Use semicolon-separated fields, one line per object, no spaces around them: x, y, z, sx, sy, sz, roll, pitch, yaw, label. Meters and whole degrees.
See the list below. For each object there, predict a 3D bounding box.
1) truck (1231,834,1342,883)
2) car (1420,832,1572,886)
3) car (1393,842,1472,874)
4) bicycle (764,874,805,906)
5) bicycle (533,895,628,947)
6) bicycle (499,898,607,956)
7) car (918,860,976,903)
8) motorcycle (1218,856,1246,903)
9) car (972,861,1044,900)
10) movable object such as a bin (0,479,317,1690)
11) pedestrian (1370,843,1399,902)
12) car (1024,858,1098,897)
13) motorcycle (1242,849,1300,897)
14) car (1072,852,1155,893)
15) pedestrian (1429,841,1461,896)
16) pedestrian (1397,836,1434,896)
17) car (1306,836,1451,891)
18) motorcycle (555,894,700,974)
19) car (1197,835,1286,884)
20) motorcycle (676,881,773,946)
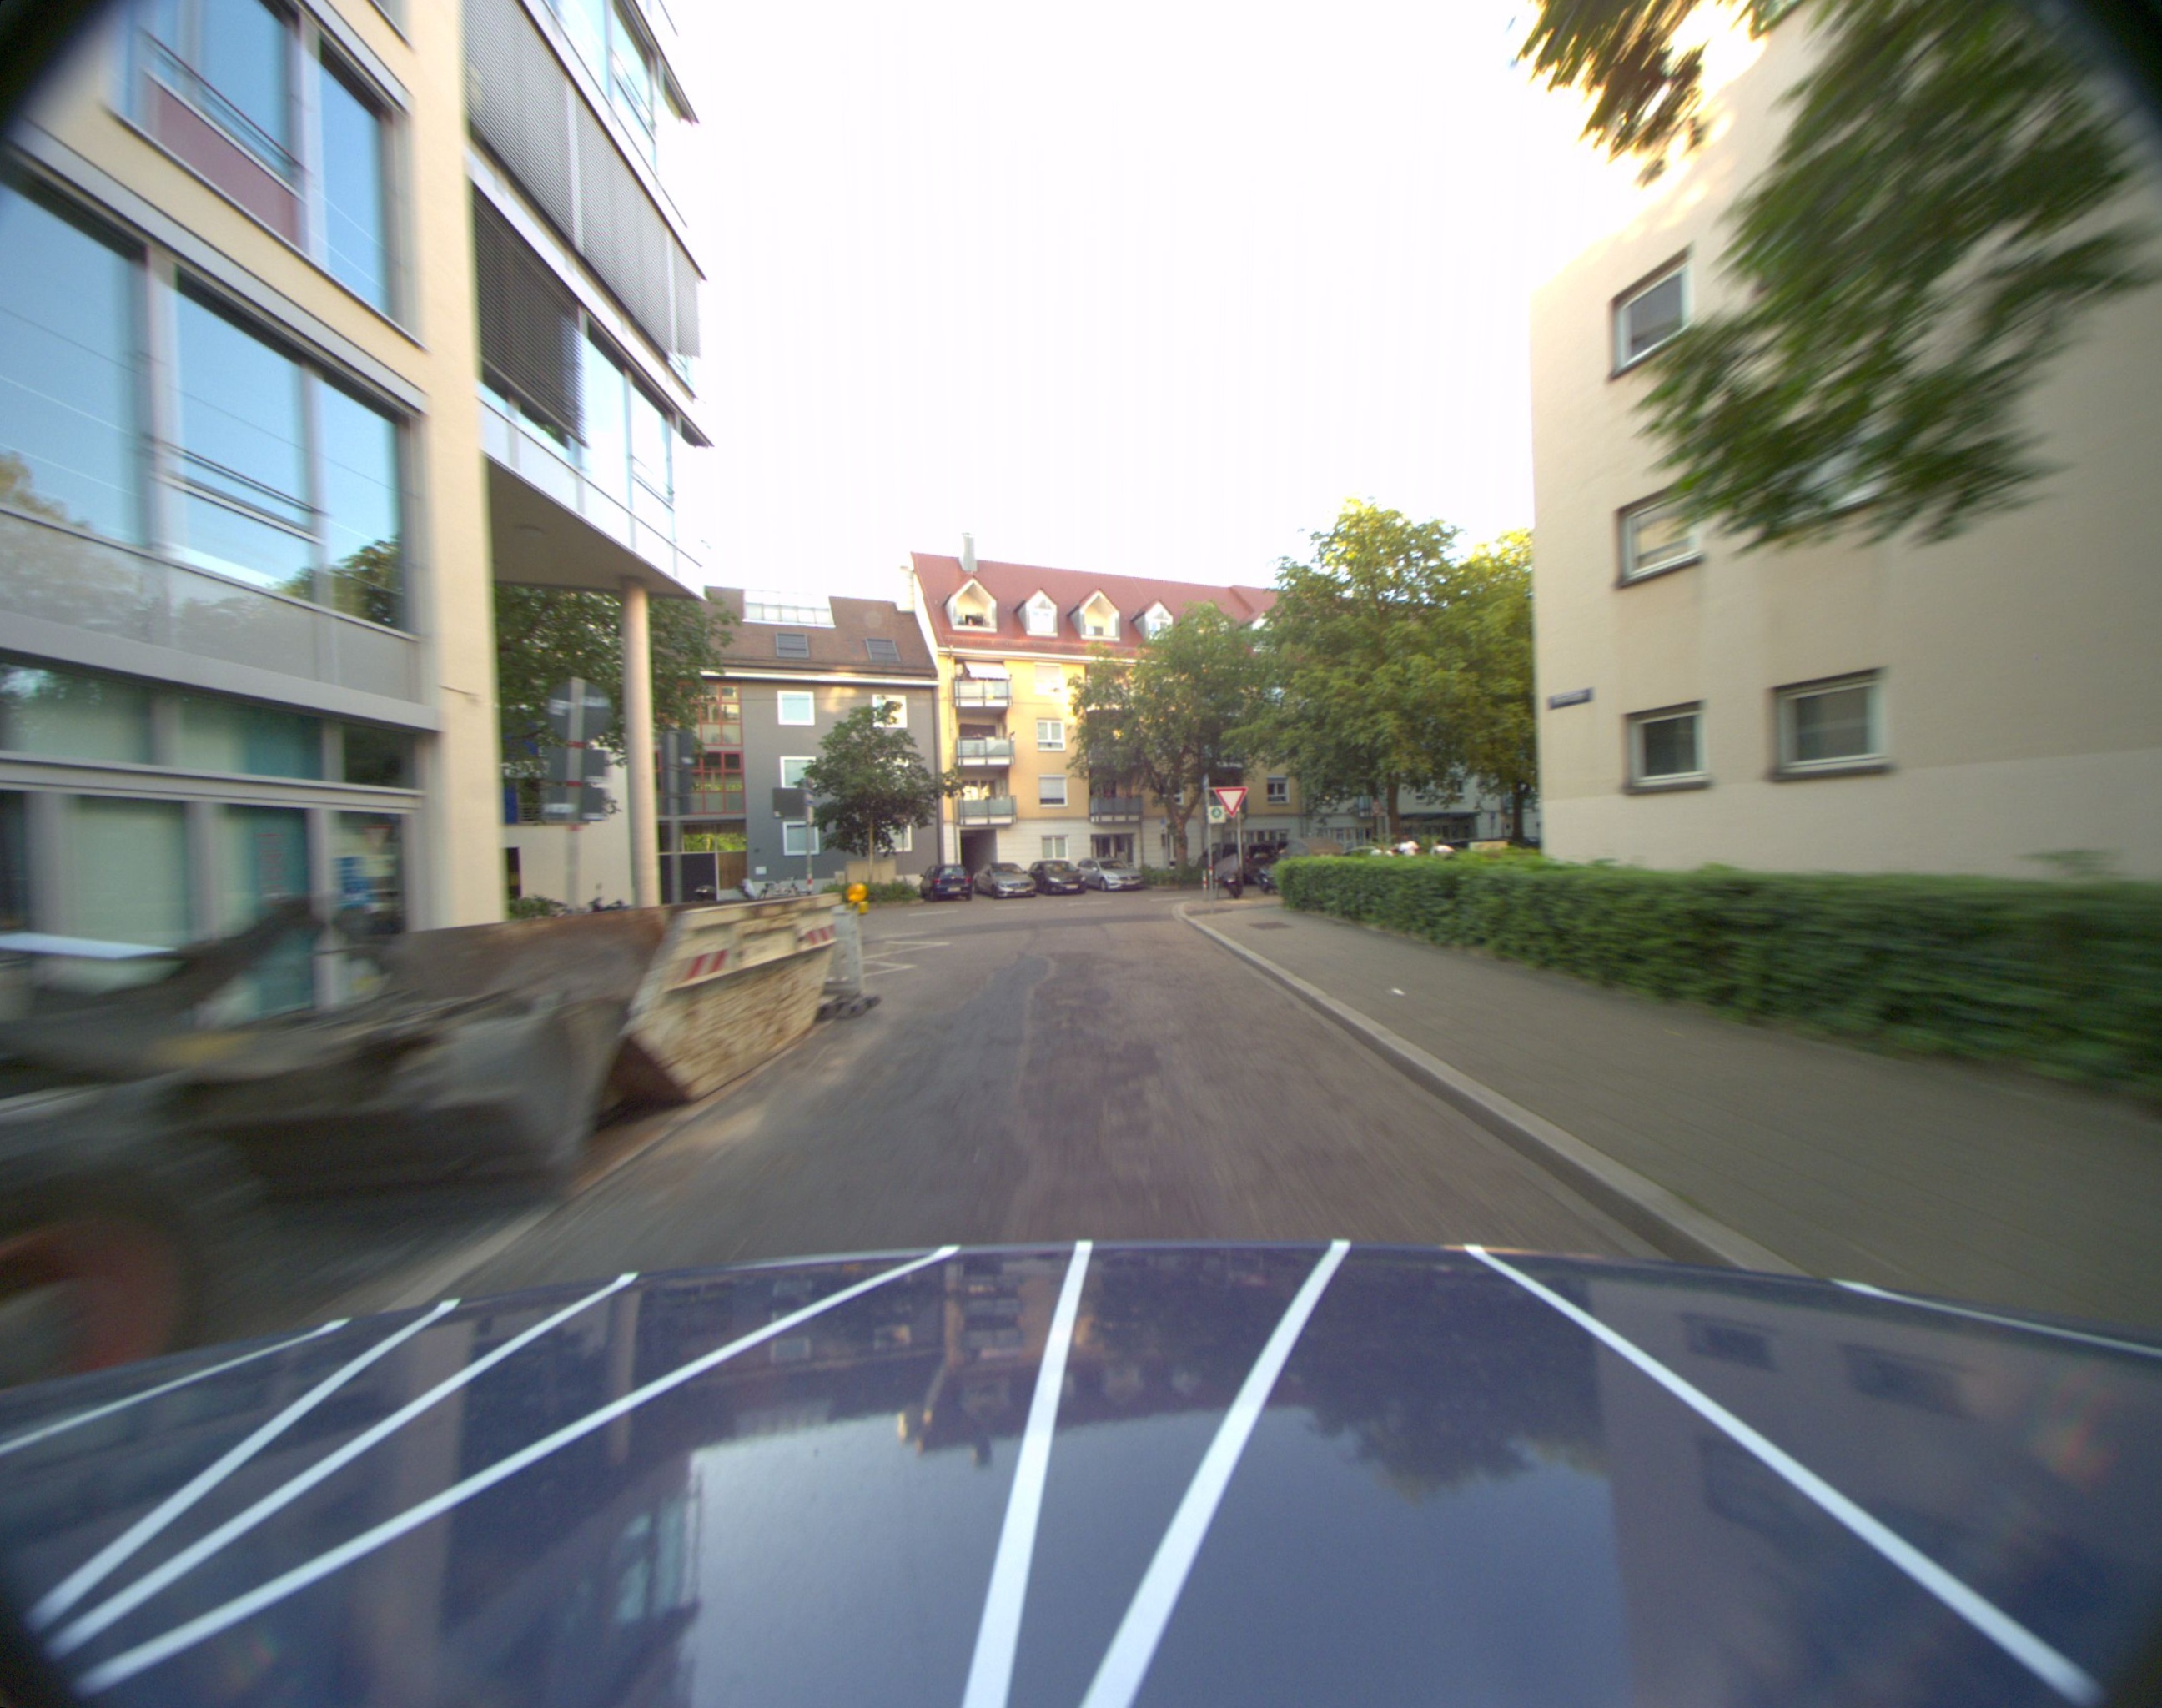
10.177;0.124;38.335;2.263;2.122;6.010;-2;4;-22;truck
14.822;0.222;27.461;2.066;1.674;4.404;-2;-2;-24;car
19.236;0.185;41.738;1.782;1.540;3.667;-4;4;-24;car
-12.129;1.477;31.090;1.501;1.166;0.726;-2;4;-21;bicycle
-12.056;1.593;18.348;1.801;1.111;0.602;-2;0;-22;bicycle
-11.358;1.559;16.418;1.801;1.111;0.602;-2;0;-22;bicycle
-5.656;1.098;31.761;1.747;1.517;3.355;-2;2;-21;car
4.658;0.748;23.585;0.722;1.366;2.226;-2;0;9;motorcycle
-3.239;1.119;33.013;1.874;1.499;4.286;-2;0;-23;car
-3.324;0.510;0.236;1.800;2.619;4.111;-2;0;3;movable object such as a bin
9.250;0.557;23.176;0.697;1.777;0.530;-2;0;28;pedestrian
-0.966;1.016;33.943;1.855;1.554;4.073;-2;0;-23;car
6.194;0.609;24.916;0.692;1.485;2.221;-3;0;-20;motorcycle
1.389;0.856;35.037;1.838;1.694;4.803;-2;0;-23;car
10.564;0.416;22.063;0.448;1.563;0.660;-4;2;-17;pedestrian
10.263;0.359;23.322;0.666;1.777;0.698;-2;0;-17;pedestrian
10.029;0.394;26.060;2.057;1.571;4.507;-3;-2;-21;car
-8.061;1.390;13.616;2.128;1.266;0.615;-1;-1;-23;motorcycle
7.734;0.194;37.122;2.038;2.122;4.624;-2;3;-22;car
-8.561;1.418;18.198;2.373;1.432;0.803;-3;0;29;motorcycle
